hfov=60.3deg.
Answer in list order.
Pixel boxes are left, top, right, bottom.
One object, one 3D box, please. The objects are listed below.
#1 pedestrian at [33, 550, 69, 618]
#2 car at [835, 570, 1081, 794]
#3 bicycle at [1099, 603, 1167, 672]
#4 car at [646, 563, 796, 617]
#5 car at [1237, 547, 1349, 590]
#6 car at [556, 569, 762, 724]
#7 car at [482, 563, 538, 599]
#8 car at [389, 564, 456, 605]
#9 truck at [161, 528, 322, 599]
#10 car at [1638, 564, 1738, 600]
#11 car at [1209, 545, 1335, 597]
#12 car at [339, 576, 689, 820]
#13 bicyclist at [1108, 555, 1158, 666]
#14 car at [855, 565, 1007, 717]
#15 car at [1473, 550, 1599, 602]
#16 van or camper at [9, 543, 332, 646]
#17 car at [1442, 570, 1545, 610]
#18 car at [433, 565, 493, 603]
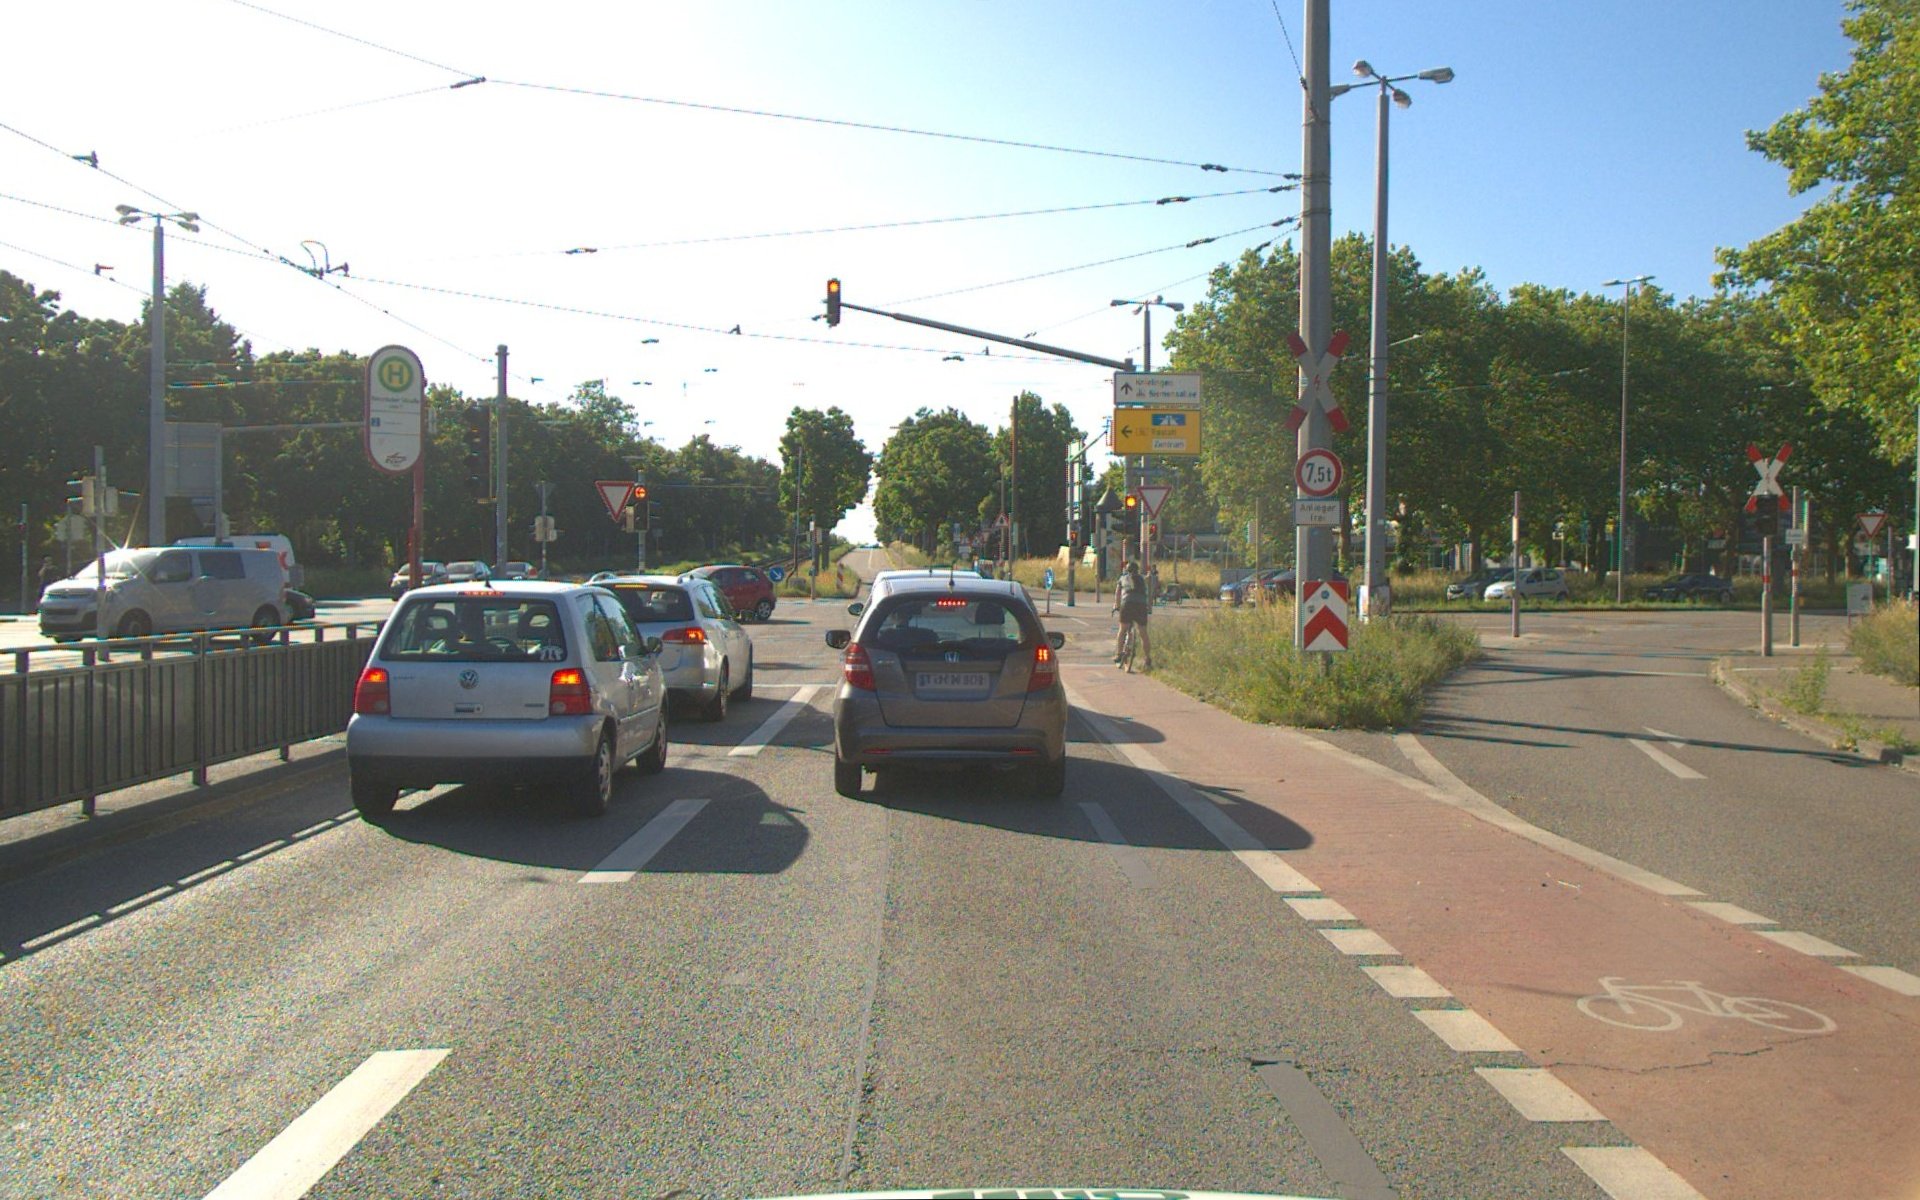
[{"bbox_3d":[-27.950,-0.497,50.867,0.735,2.049,0.789,0,1,-13],"label":"pedestrian"},{"bbox_3d":[-0.100,0.521,12.804,1.635,1.487,3.584,0,1,-3],"label":"car"},{"bbox_3d":[2.764,0.579,26.724,0.707,1.006,2.875,1,0,-1],"label":"bicycle"},{"bbox_3d":[-6.578,-0.291,45.781,3.986,1.427,1.583,-1,1,-44],"label":"car"},{"bbox_3d":[12.423,-1.177,61.717,3.934,1.557,1.594,-1,1,-24],"label":"car"},{"bbox_3d":[-3.184,0.441,18.212,1.586,1.482,4.084,1,0,-1],"label":"car"},{"bbox_3d":[-21.541,-0.948,79.308,1.956,1.632,4.747,1,1,-8],"label":"car"},{"bbox_3d":[-21.173,-0.619,65.270,1.797,1.575,3.994,0,1,-7],"label":"car"},{"bbox_3d":[-27.855,-1.407,64.441,1.951,2.609,6.829,0,1,14],"label":"truck"},{"bbox_3d":[33.525,-0.856,76.122,4.449,1.601,1.681,-1,1,-24],"label":"car"},{"bbox_3d":[12.433,-1.134,65.895,4.625,1.912,1.986,1,0,-24],"label":"car"},{"bbox_3d":[-2.938,0.571,11.560,1.586,1.442,3.350,0,0,-1],"label":"car"},{"bbox_3d":[2.776,0.167,26.642,0.652,1.746,0.948,1,0,-2],"label":"bicyclist"},{"bbox_3d":[-0.348,0.399,19.436,1.578,1.589,4.287,0,1,-1],"label":"car"},{"bbox_3d":[23.467,-0.994,67.328,4.823,2.049,1.986,-1,1,-24],"label":"car"},{"bbox_3d":[-15.499,-0.160,32.959,1.953,1.860,5.985,0,1,24],"label":"van or camper"},{"bbox_3d":[22.956,-0.440,71.136,3.931,1.606,1.868,1,0,-22],"label":"car"},{"bbox_3d":[-21.322,-0.689,71.059,1.797,1.575,4.278,0,1,-7],"label":"car"}]
